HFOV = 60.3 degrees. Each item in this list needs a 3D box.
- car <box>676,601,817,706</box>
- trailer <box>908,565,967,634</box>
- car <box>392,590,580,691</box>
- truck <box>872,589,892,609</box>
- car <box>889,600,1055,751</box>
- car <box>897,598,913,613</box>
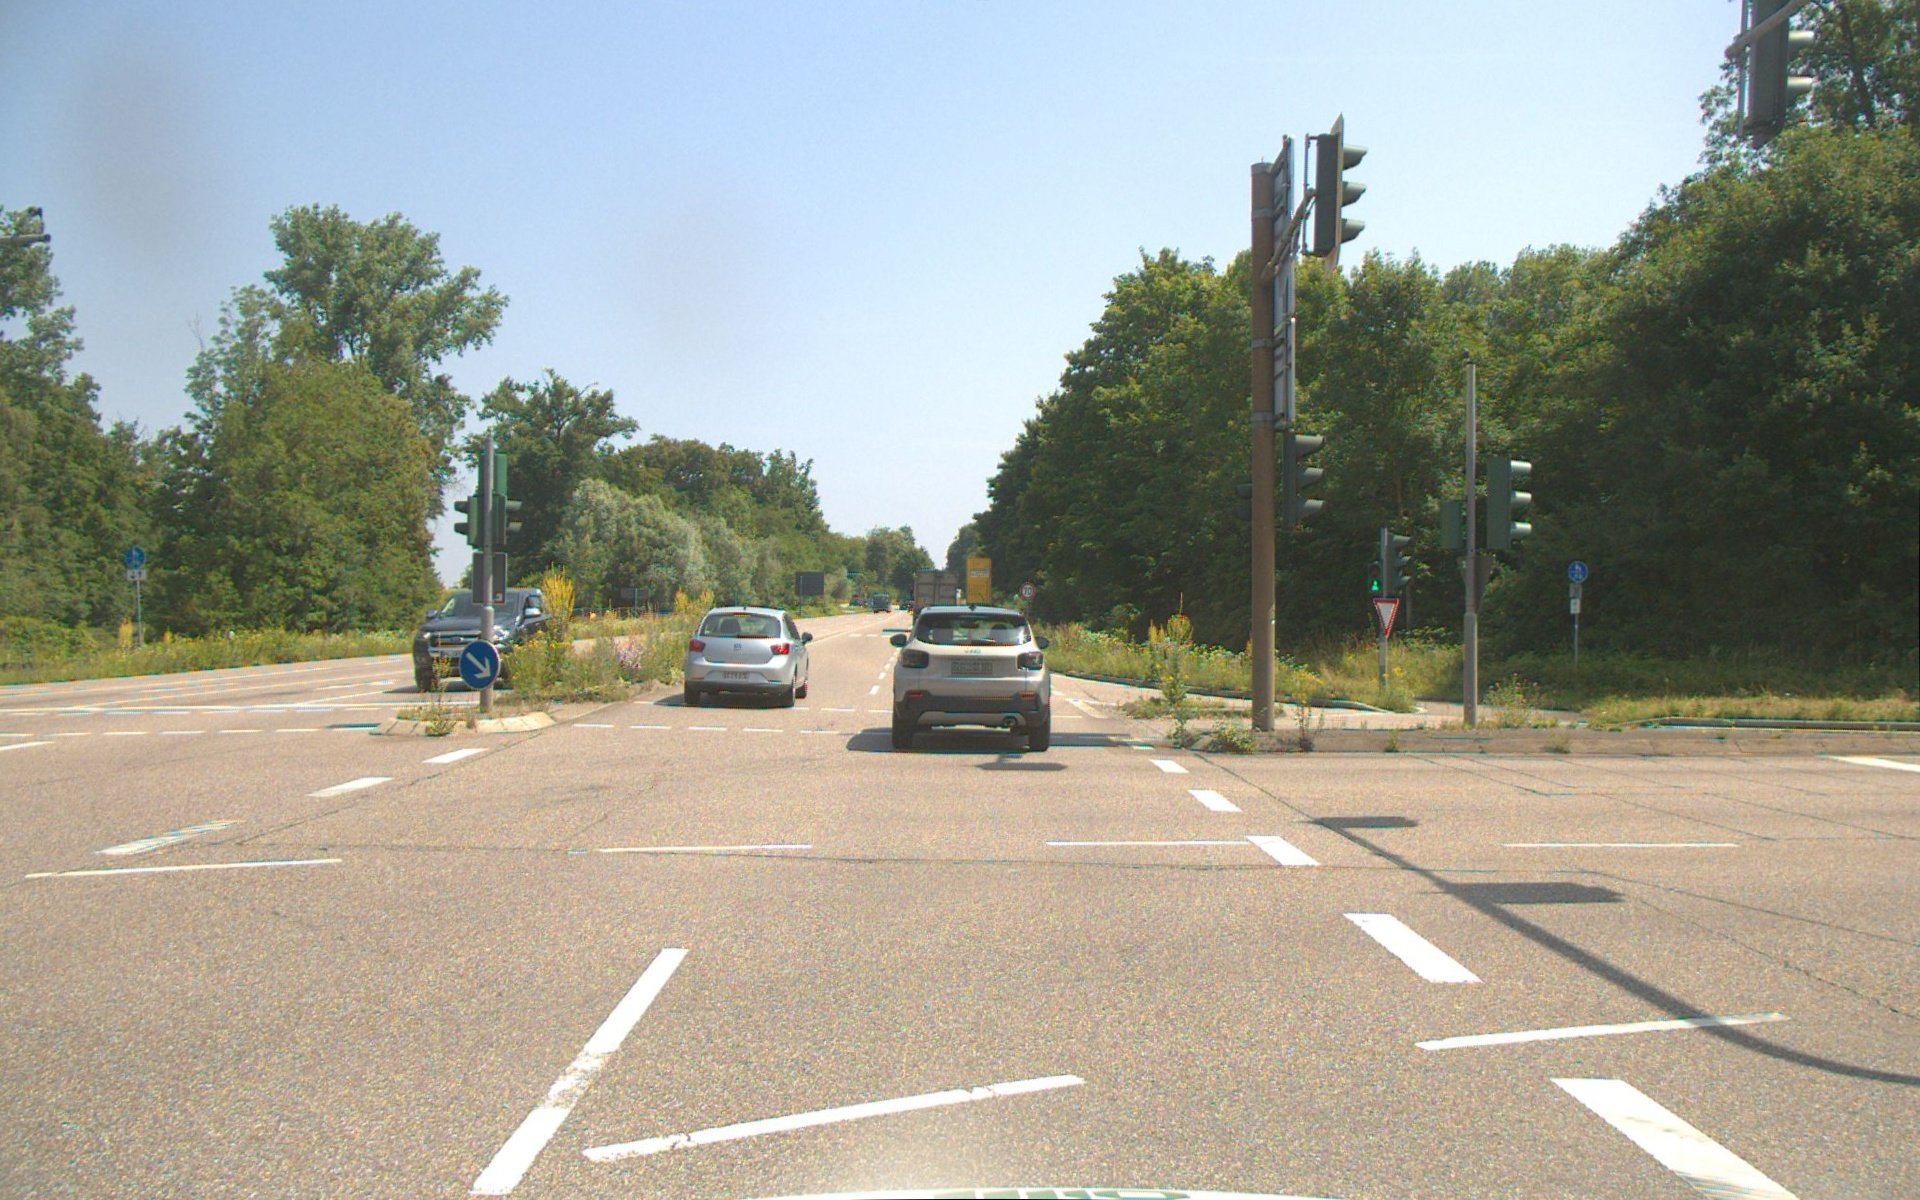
[{"bbox_3d":[-3.214,0.774,25.539,1.631,1.455,3.828,2,0,0],"label":"car"},{"bbox_3d":[-1.322,0.006,104.806,3.313,4.058,10.804,1,-1,1],"label":"trailer"},{"bbox_3d":[-8.813,0.699,31.278,1.953,1.707,5.365,-1,0,0],"label":"car"},{"bbox_3d":[-10.846,-0.134,231.856,2.404,2.703,6.490,-2,0,0],"label":"truck"},{"bbox_3d":[0.135,0.797,19.423,1.731,1.562,4.000,1,0,0],"label":"car"},{"bbox_3d":[-7.562,0.808,228.261,1.952,2.049,4.554,-1,0,1],"label":"car"}]
